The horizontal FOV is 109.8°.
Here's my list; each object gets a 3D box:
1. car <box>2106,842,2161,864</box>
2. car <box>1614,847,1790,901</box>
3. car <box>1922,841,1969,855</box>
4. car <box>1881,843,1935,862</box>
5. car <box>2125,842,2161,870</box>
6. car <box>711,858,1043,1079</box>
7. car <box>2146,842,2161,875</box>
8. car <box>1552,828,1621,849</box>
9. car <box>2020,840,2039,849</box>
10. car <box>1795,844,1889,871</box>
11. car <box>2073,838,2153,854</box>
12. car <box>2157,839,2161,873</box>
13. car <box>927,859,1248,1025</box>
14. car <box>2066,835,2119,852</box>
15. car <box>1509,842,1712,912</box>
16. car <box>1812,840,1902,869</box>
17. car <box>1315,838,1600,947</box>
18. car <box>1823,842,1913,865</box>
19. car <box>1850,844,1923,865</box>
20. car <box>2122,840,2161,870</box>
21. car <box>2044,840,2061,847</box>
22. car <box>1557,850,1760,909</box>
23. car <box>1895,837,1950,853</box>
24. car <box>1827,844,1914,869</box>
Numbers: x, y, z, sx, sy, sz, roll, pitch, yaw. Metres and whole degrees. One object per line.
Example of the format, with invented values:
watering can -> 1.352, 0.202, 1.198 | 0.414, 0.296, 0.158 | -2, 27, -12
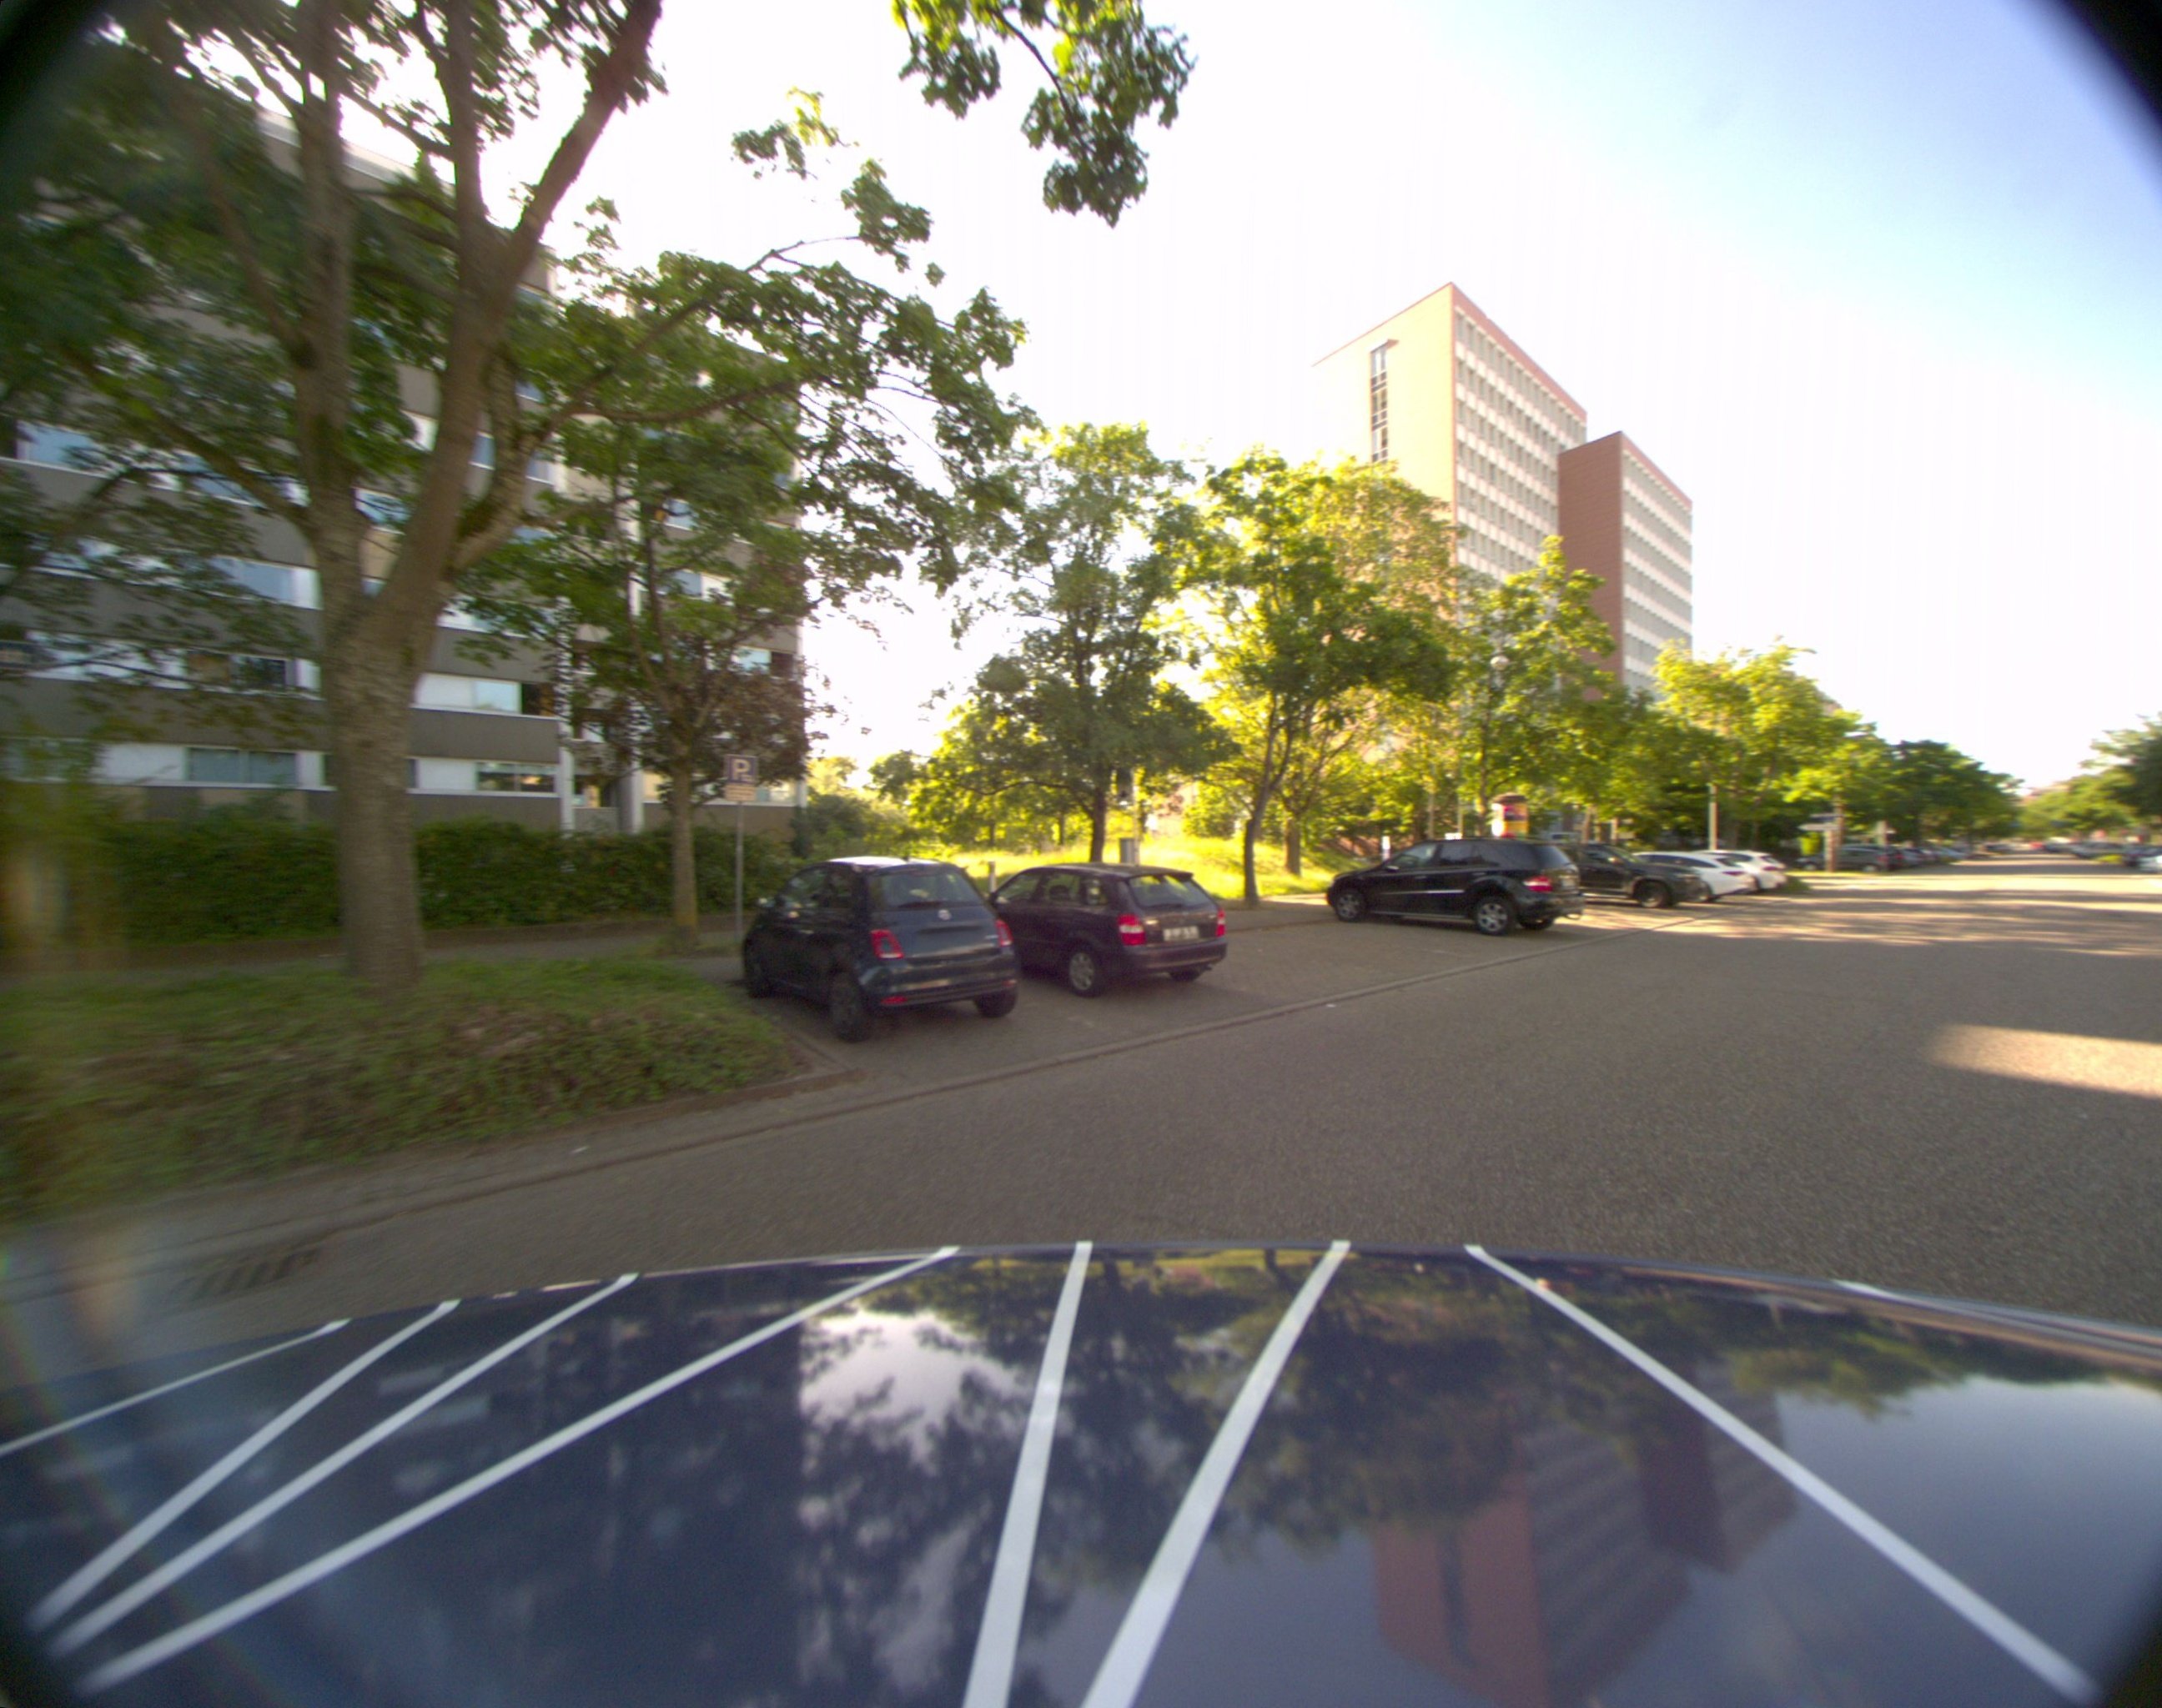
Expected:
car -> 76.653, -0.075, 54.543 | 1.649, 1.497, 3.532 | -1, 0, -40
car -> 21.386, 0.617, 26.316 | 1.840, 1.584, 4.427 | -1, 3, -41
car -> 111.207, -0.767, 97.810 | 1.957, 1.773, 3.989 | -1, 0, -43
car -> 73.406, -0.122, 67.485 | 1.607, 1.596, 3.047 | -1, 2, -36
car -> 57.386, 0.050, 38.835 | 1.945, 1.442, 4.511 | -1, -1, -42
car -> -2.243, 0.870, 7.661 | 1.705, 1.490, 3.809 | -1, 3, -41
car -> 51.036, 0.173, 33.732 | 1.804, 1.471, 4.260 | -1, 0, -39
car -> 44.205, -1.350, 66.505 | 1.879, 1.676, 4.718 | -1, 0, -42
car -> 174.578, -1.816, 139.815 | 4.007, 1.617, 1.948 | -1, 1, -36
car -> 46.103, 0.218, 46.097 | 1.595, 1.438, 3.835 | 1, 2, -41
car -> 115.100, -0.891, 84.834 | 1.957, 1.615, 5.243 | -1, 0, -37
car -> 53.699, 0.022, 35.243 | 1.956, 1.593, 4.228 | -2, -1, -38
car -> -0.132, 0.866, 9.415 | 1.826, 1.379, 3.987 | -1, 3, -39
car -> 129.807, -1.335, 97.542 | 2.004, 2.094, 3.989 | -1, 0, -40
car -> 14.070, 0.516, 20.395 | 1.737, 1.609, 4.119 | -3, 3, -40
car -> 48.297, -0.023, 47.368 | 1.727, 1.741, 3.674 | -1, 2, -36
car -> 7.175, 0.588, 14.955 | 2.004, 1.769, 4.588 | -1, 2, -38
car -> 57.246, -0.065, 55.349 | 1.863, 1.544, 4.422 | -1, 1, -39
car -> 59.892, 0.026, 56.539 | 1.727, 1.498, 3.573 | -1, 2, -39
car -> 59.561, 0.022, 40.907 | 1.806, 1.610, 4.115 | -1, -1, -37
car -> 180.902, -1.917, 141.496 | 4.007, 1.365, 1.763 | -1, 1, -36
car -> 16.742, 0.700, 22.213 | 1.821, 1.536, 4.445 | -1, 0, -41
car -> 96.423, -1.003, 87.044 | 2.004, 1.696, 4.156 | -1, 0, -41
car -> 51.451, 0.144, 49.577 | 1.813, 1.556, 3.871 | -2, 2, -43
